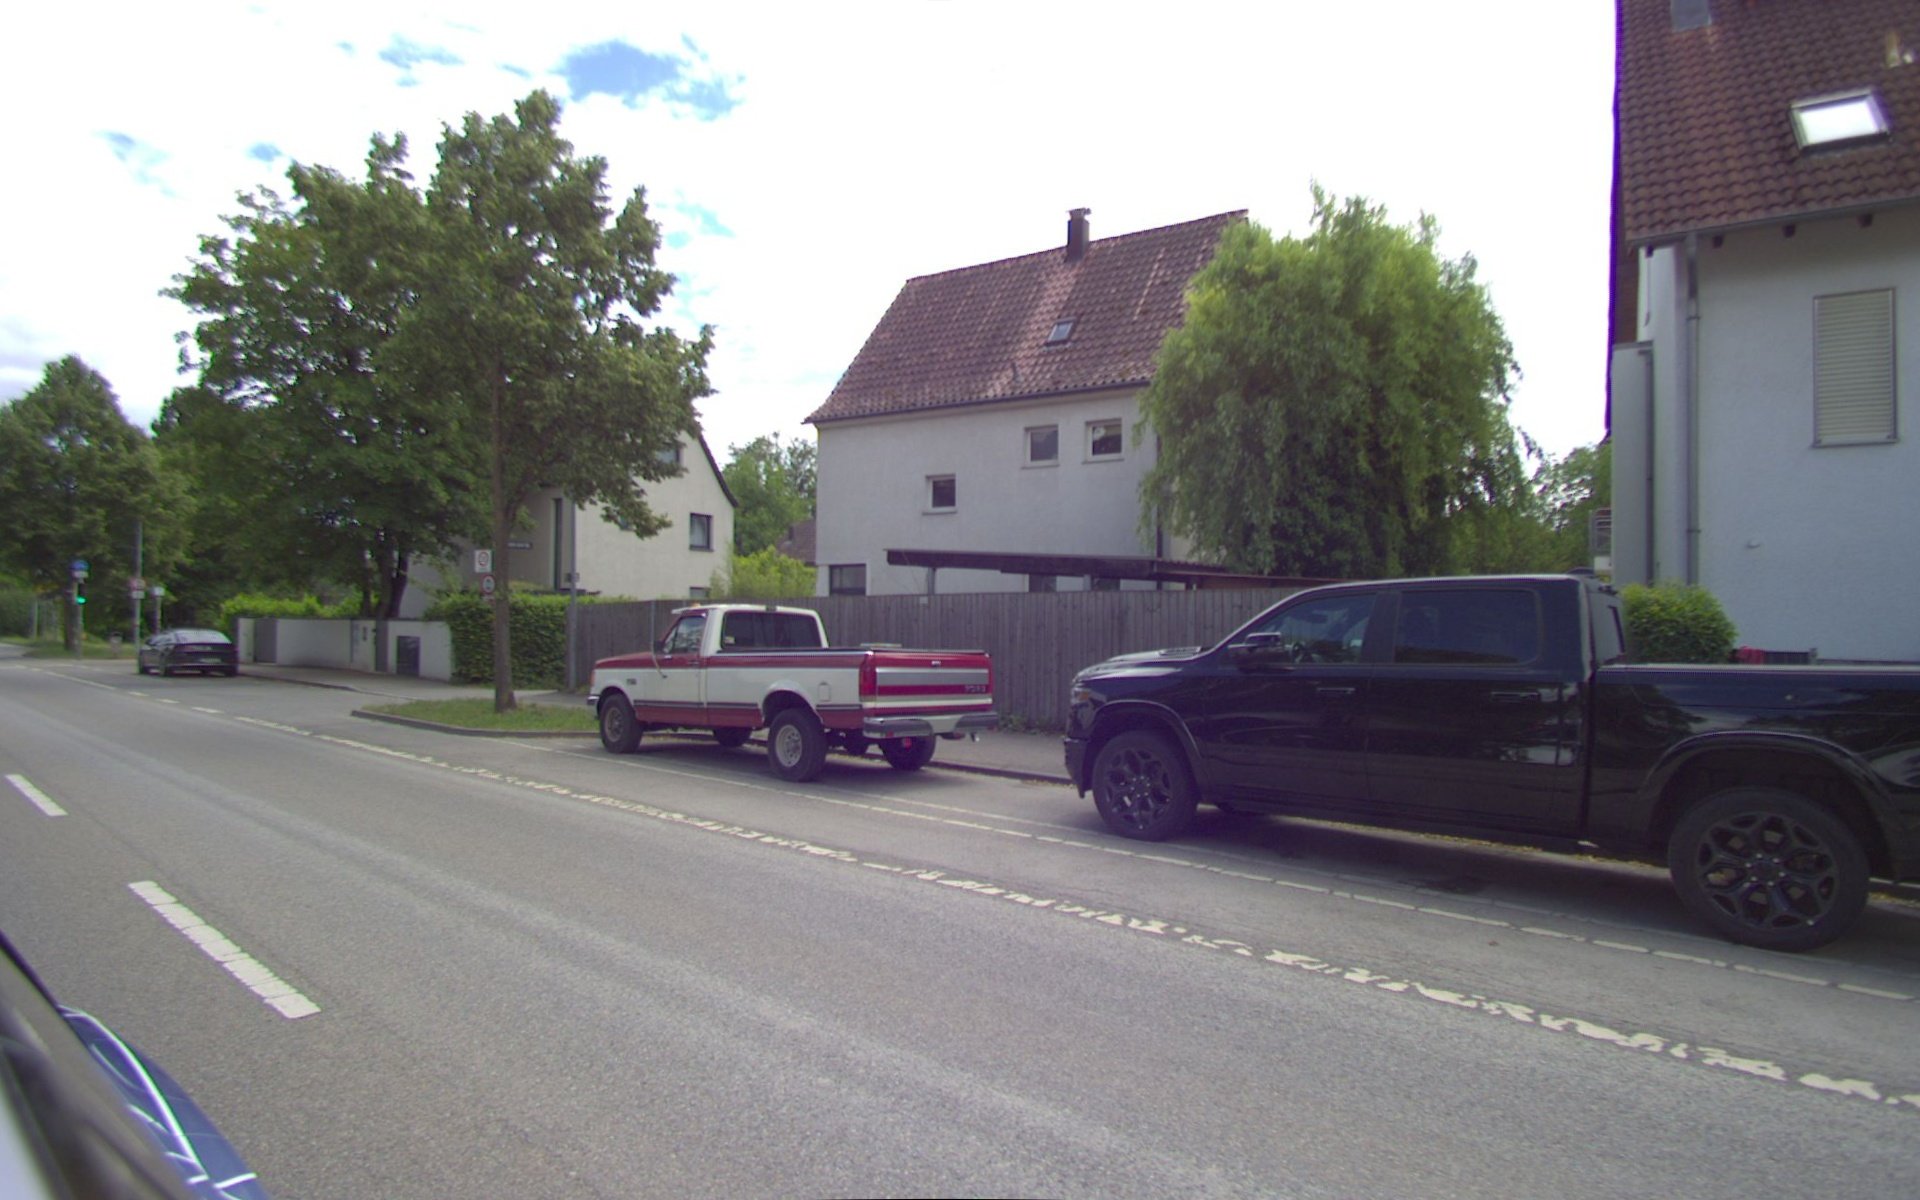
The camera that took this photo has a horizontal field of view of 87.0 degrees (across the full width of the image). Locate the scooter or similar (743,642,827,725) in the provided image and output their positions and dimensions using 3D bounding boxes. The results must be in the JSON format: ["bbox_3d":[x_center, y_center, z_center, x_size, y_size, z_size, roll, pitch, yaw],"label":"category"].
[{"bbox_3d":[-2.835,1.318,16.354,1.303,1.221,0.629,0,1,38],"label":"scooter or similar"}]

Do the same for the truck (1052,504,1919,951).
[{"bbox_3d":[3.750,0.650,6.860,5.991,2.059,2.398,-1,-2,41],"label":"truck"}]

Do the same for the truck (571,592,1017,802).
[{"bbox_3d":[-2.175,0.969,11.754,5.662,1.882,1.946,-1,-4,42],"label":"truck"}]

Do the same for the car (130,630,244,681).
[{"bbox_3d":[-23.562,1.658,30.772,4.924,1.419,1.728,-1,-4,41],"label":"car"}]
